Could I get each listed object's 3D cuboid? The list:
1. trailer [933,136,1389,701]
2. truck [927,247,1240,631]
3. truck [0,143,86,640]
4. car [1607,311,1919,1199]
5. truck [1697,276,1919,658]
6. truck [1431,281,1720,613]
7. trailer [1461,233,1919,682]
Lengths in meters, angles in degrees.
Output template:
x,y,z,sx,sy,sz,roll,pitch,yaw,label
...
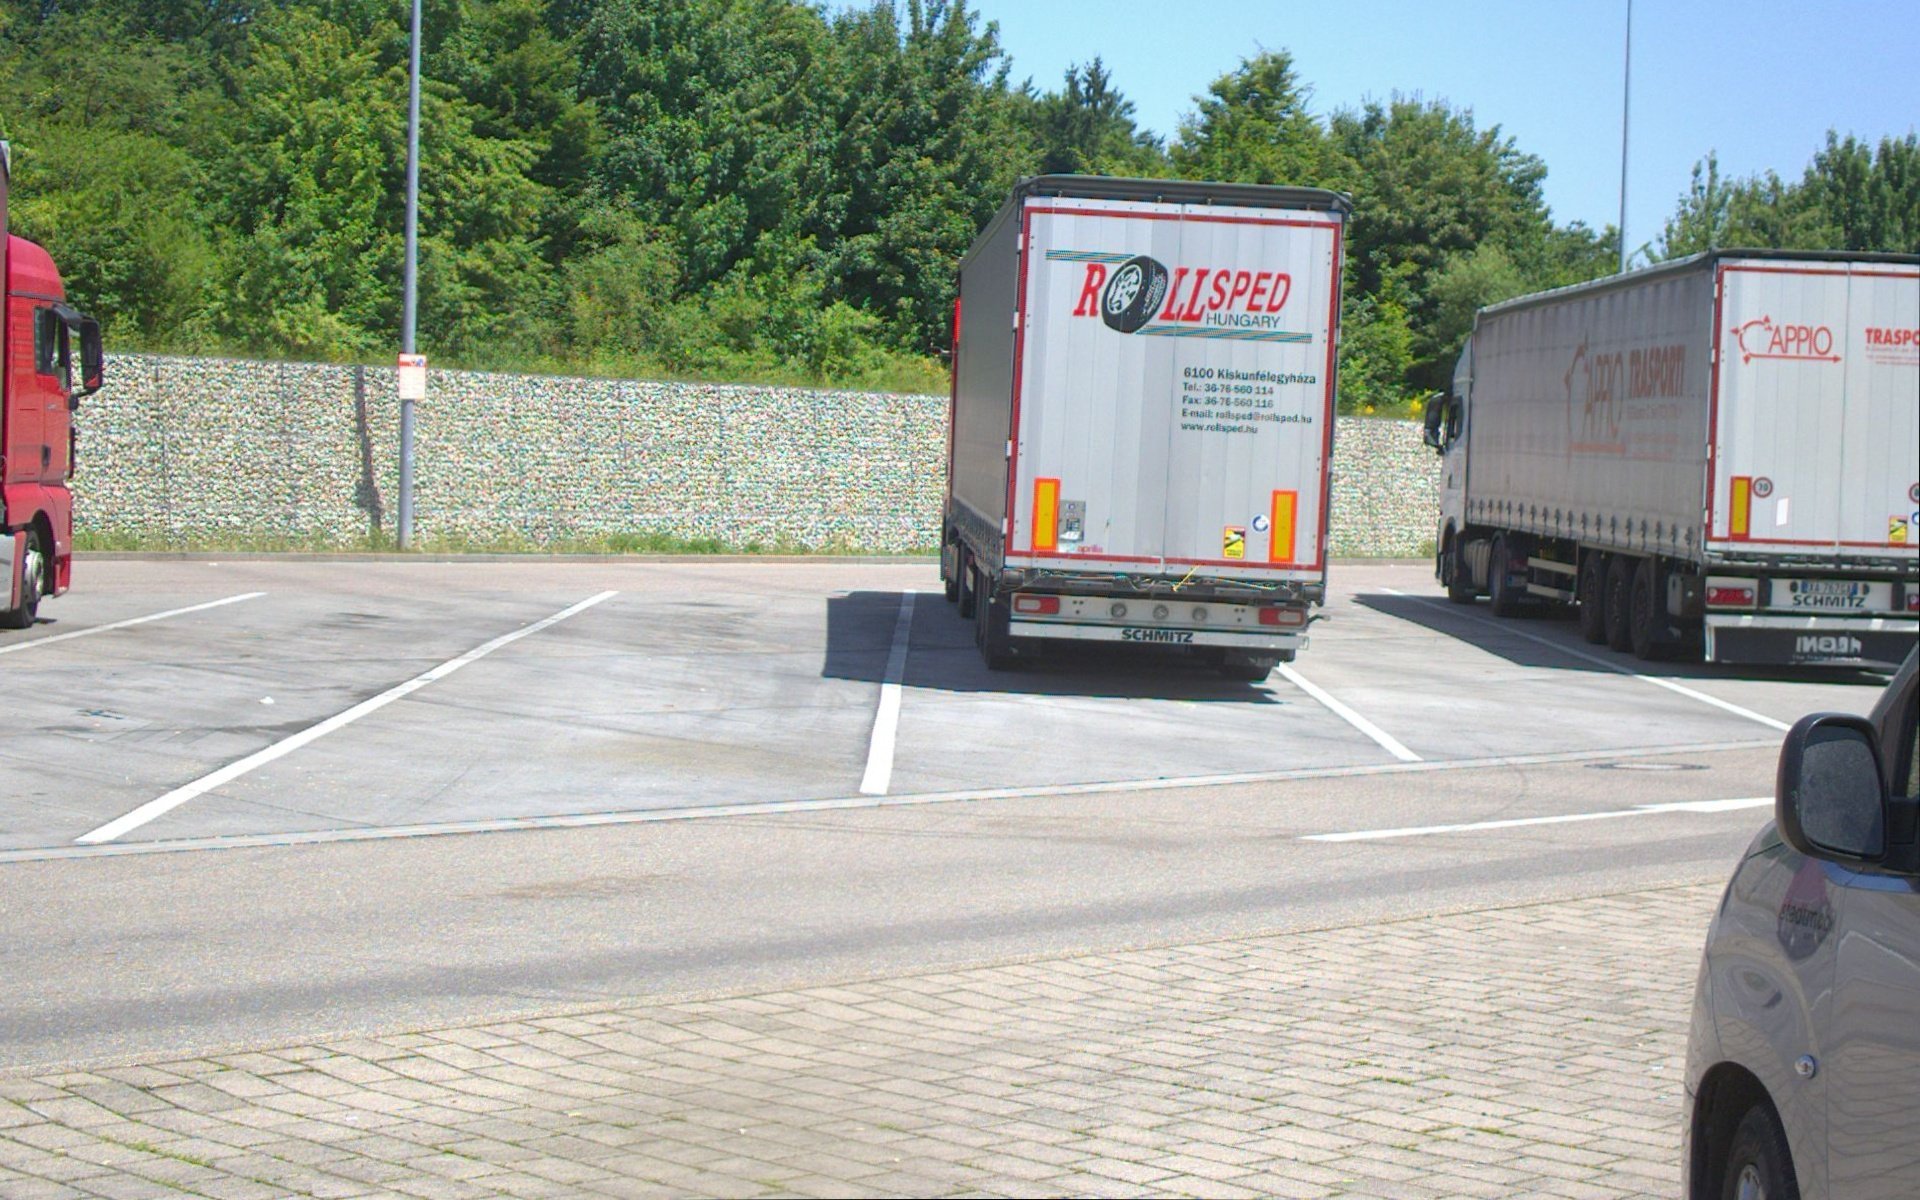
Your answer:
x,y,z,sx,sy,sz,roll,pitch,yaw,label
1.479,-1.698,32.644,3.069,4.213,12.810,2,3,-2,trailer
1.263,-1.857,39.412,3.026,3.915,6.847,2,3,-2,truck
-9.230,-1.702,27.661,2.743,4.067,6.830,1,2,-1,truck
2.139,0.541,3.801,1.825,1.747,4.001,1,2,-4,car
11.730,-1.476,39.814,2.904,4.110,14.528,3,2,-1,truck
8.026,-1.992,45.477,2.757,4.110,5.285,1,2,-1,truck
8.140,-1.539,38.482,2.876,4.110,13.572,1,2,-1,trailer
